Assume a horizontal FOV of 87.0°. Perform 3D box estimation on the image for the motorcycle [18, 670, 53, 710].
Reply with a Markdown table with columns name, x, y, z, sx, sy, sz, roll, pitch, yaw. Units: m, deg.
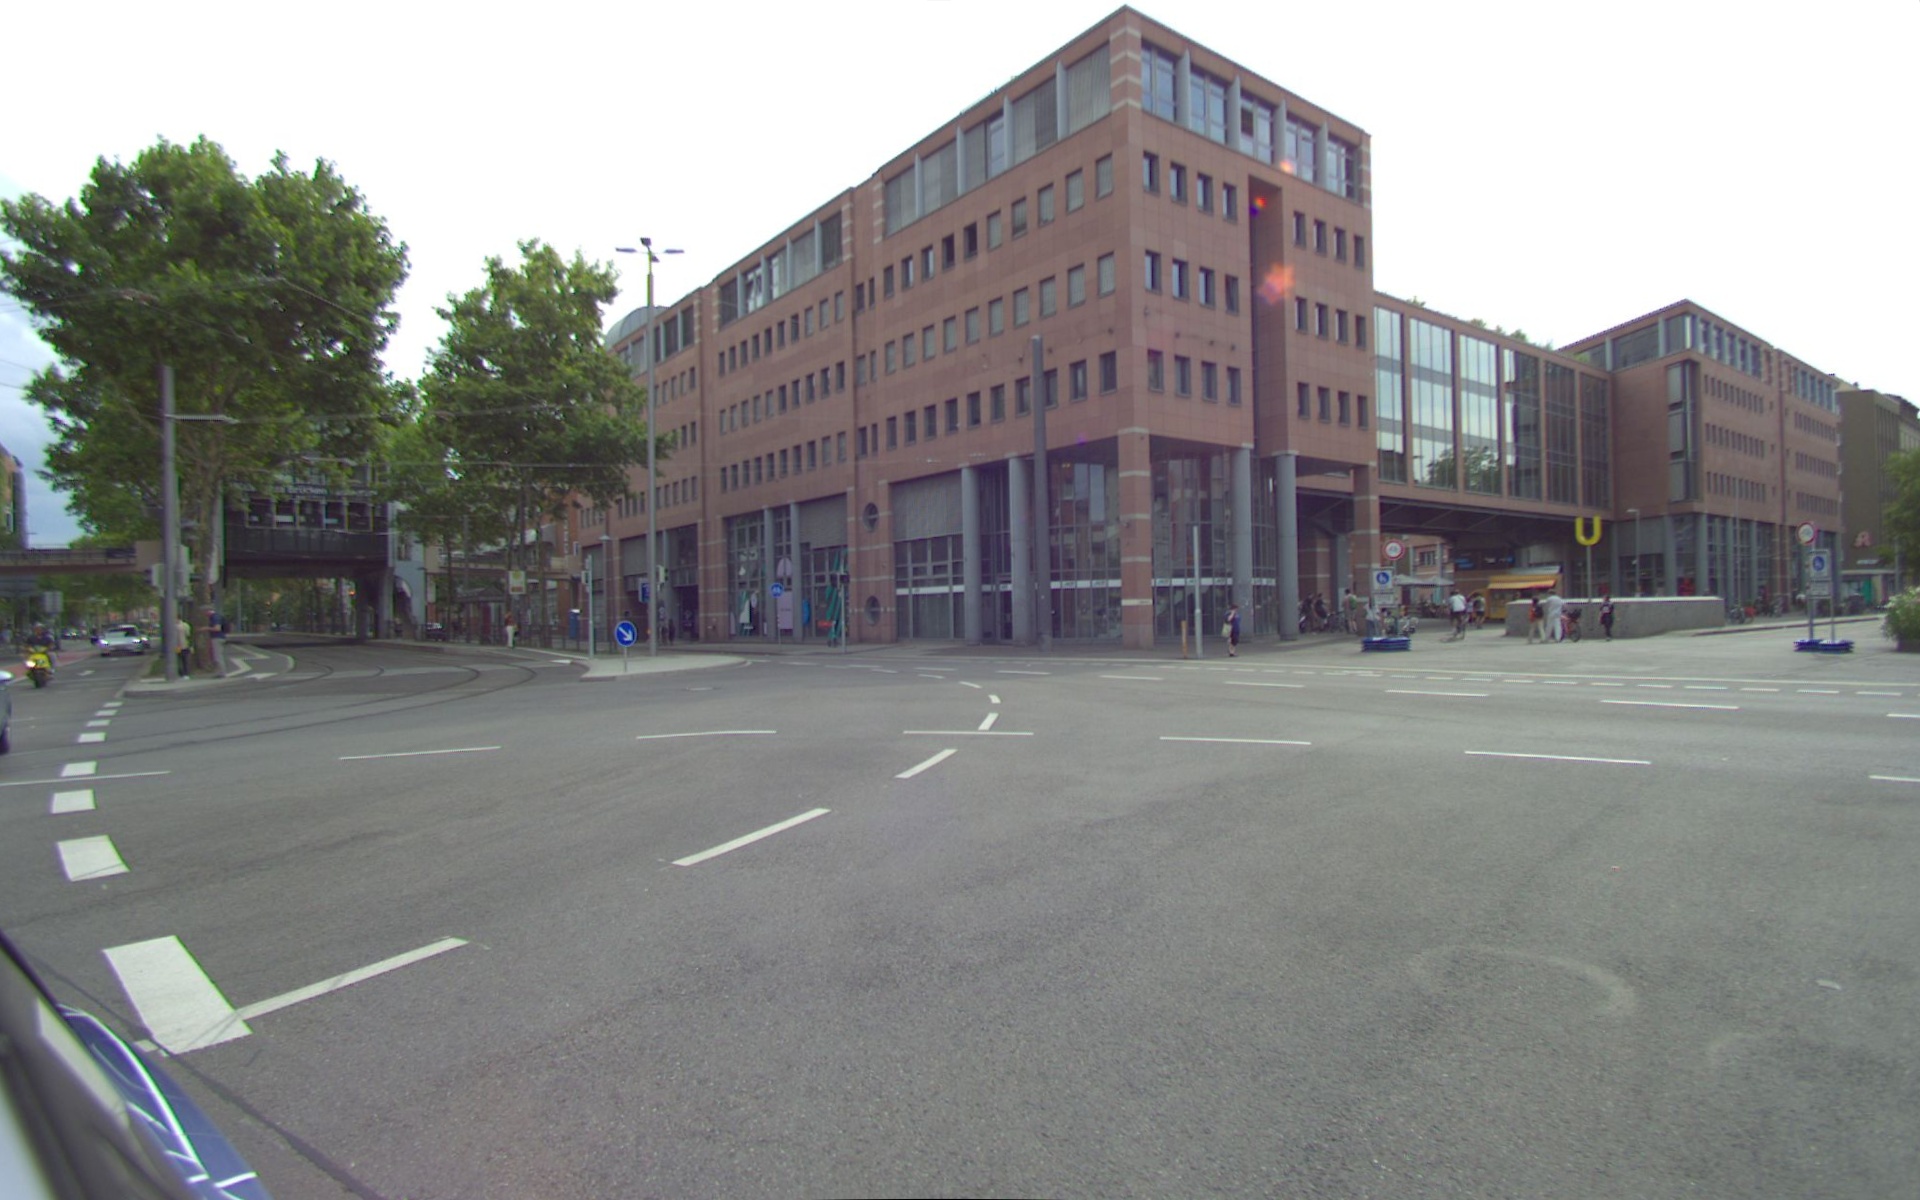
| name | x | y | z | sx | sy | sz | roll | pitch | yaw |
| --- | --- | --- | --- | --- | --- | --- | --- | --- | --- |
| motorcycle | -24.928 | 2.398 | 27.275 | 2.014 | 0.975 | 0.562 | -3 | -2 | 44 |

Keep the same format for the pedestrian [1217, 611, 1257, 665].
| name | x | y | z | sx | sy | sz | roll | pitch | yaw |
| --- | --- | --- | --- | --- | --- | --- | --- | --- | --- |
| pedestrian | 7.757 | 1.052 | 28.357 | 0.786 | 1.484 | 0.686 | -1 | -2 | -37 |

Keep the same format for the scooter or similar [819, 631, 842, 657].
| name | x | y | z | sx | sy | sz | roll | pitch | yaw |
| --- | --- | --- | --- | --- | --- | --- | --- | --- | --- |
| scooter or similar | -5.663 | 1.915 | 44.177 | 0.512 | 1.142 | 1.114 | -1 | -2 | -37 |

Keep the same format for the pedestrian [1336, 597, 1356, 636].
| name | x | y | z | sx | sy | sz | roll | pitch | yaw |
| --- | --- | --- | --- | --- | --- | --- | --- | --- | --- |
| pedestrian | 16.438 | 0.704 | 43.117 | 0.512 | 1.676 | 0.582 | -1 | -2 | -37 |

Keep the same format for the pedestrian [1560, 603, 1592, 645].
| name | x | y | z | sx | sy | sz | roll | pitch | yaw |
| --- | --- | --- | --- | --- | --- | --- | --- | --- | --- |
| pedestrian | 20.909 | 0.802 | 34.372 | 0.626 | 1.385 | 0.862 | -2 | -1 | 11 |

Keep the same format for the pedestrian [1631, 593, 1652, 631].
| name | x | y | z | sx | sy | sz | roll | pitch | yaw |
| --- | --- | --- | --- | --- | --- | --- | --- | --- | --- |
| pedestrian | 30.493 | 0.545 | 45.266 | 0.512 | 1.676 | 0.582 | -1 | -2 | -37 |

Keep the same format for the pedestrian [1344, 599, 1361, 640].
| name | x | y | z | sx | sy | sz | roll | pitch | yaw |
| --- | --- | --- | --- | --- | --- | --- | --- | --- | --- |
| pedestrian | 16.308 | 0.795 | 42.081 | 0.576 | 1.676 | 0.517 | -2 | -1 | 19 |

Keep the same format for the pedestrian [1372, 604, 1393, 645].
| name | x | y | z | sx | sy | sz | roll | pitch | yaw |
| --- | --- | --- | --- | --- | --- | --- | --- | --- | --- |
| pedestrian | 18.810 | 1.094 | 45.067 | 0.676 | 1.775 | 0.498 | -2 | -1 | 5 |

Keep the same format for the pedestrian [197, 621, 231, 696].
| name | x | y | z | sx | sy | sz | roll | pitch | yaw |
| --- | --- | --- | --- | --- | --- | --- | --- | --- | --- |
| pedestrian | -19.219 | 1.497 | 26.083 | 0.682 | 1.889 | 0.808 | -1 | -2 | -37 |

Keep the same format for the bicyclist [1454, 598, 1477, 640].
| name | x | y | z | sx | sy | sz | roll | pitch | yaw |
| --- | --- | --- | --- | --- | --- | --- | --- | --- | --- |
| bicyclist | 19.562 | 0.743 | 39.198 | 0.541 | 1.581 | 0.880 | -2 | -1 | 12 |

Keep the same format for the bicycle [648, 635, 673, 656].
| name | x | y | z | sx | sy | sz | roll | pitch | yaw |
| --- | --- | --- | --- | --- | --- | --- | --- | --- | --- |
| bicycle | -16.635 | 2.547 | 56.278 | 1.588 | 1.126 | 0.540 | -2 | -2 | 40 |

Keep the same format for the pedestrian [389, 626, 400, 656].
| name | x | y | z | sx | sy | sz | roll | pitch | yaw |
| --- | --- | --- | --- | --- | --- | --- | --- | --- | --- |
| pedestrian | -35.044 | 2.541 | 62.684 | 0.475 | 1.784 | 0.482 | 0 | -2 | -45 |

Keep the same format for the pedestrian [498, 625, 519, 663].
| name | x | y | z | sx | sy | sz | roll | pitch | yaw |
| --- | --- | --- | --- | --- | --- | --- | --- | --- | --- |
| pedestrian | -18.772 | 1.816 | 42.036 | 0.648 | 1.549 | 0.559 | -1 | 1 | -42 |

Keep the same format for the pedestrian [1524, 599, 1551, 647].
| name | x | y | z | sx | sy | sz | roll | pitch | yaw |
| --- | --- | --- | --- | --- | --- | --- | --- | --- | --- |
| pedestrian | 19.897 | 0.790 | 34.870 | 0.627 | 1.654 | 0.465 | -2 | -1 | 13 |

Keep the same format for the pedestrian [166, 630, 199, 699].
| name | x | y | z | sx | sy | sz | roll | pitch | yaw |
| --- | --- | --- | --- | --- | --- | --- | --- | --- | --- |
| pedestrian | -21.018 | 1.729 | 27.369 | 0.526 | 1.805 | 0.579 | -1 | -1 | -18 |

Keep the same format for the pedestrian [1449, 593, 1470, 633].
| name | x | y | z | sx | sy | sz | roll | pitch | yaw |
| --- | --- | --- | --- | --- | --- | --- | --- | --- | --- |
| pedestrian | 21.046 | 0.553 | 42.645 | 0.512 | 1.676 | 0.582 | -1 | -2 | -37 |

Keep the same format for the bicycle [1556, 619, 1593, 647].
| name | x | y | z | sx | sy | sz | roll | pitch | yaw |
| --- | --- | --- | --- | --- | --- | --- | --- | --- | --- |
| bicycle | 20.943 | 1.117 | 34.538 | 0.468 | 0.895 | 1.782 | -2 | -1 | 12 |

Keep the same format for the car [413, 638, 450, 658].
| name | x | y | z | sx | sy | sz | roll | pitch | yaw |
| --- | --- | --- | --- | --- | --- | --- | --- | --- | --- |
| car | -42.042 | 3.792 | 80.460 | 1.839 | 1.484 | 4.304 | -1 | -2 | -39 |

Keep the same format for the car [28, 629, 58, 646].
| name | x | y | z | sx | sy | sz | roll | pitch | yaw |
| --- | --- | --- | --- | --- | --- | --- | --- | --- | --- |
| car | -92.754 | 3.807 | 102.381 | 1.927 | 1.613 | 4.009 | -1 | -1 | -37 |

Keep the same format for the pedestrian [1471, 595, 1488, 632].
| name | x | y | z | sx | sy | sz | roll | pitch | yaw |
| --- | --- | --- | --- | --- | --- | --- | --- | --- | --- |
| pedestrian | 24.329 | 0.630 | 47.365 | 0.512 | 1.676 | 0.465 | -1 | -2 | -37 |

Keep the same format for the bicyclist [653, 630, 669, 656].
| name | x | y | z | sx | sy | sz | roll | pitch | yaw |
| --- | --- | --- | --- | --- | --- | --- | --- | --- | --- |
| bicyclist | -16.617 | 2.400 | 56.262 | 0.737 | 1.391 | 0.545 | -2 | -2 | 40 |

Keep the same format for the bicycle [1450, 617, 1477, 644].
| name | x | y | z | sx | sy | sz | roll | pitch | yaw |
| --- | --- | --- | --- | --- | --- | --- | --- | --- | --- |
| bicycle | 19.582 | 1.183 | 39.356 | 0.468 | 0.996 | 1.782 | -2 | -1 | 12 |

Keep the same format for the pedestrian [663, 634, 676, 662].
| name | x | y | z | sx | sy | sz | roll | pitch | yaw |
| --- | --- | --- | --- | --- | --- | --- | --- | --- | --- |
| pedestrian | -16.759 | 2.750 | 58.351 | 0.520 | 1.585 | 0.602 | 0 | -2 | -38 |

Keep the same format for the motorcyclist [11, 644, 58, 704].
| name | x | y | z | sx | sy | sz | roll | pitch | yaw |
| --- | --- | --- | --- | --- | --- | --- | --- | --- | --- |
| motorcyclist | -24.958 | 1.982 | 27.294 | 1.044 | 1.528 | 0.860 | -3 | -2 | 42 |

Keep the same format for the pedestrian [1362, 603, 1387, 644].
| name | x | y | z | sx | sy | sz | roll | pitch | yaw |
| --- | --- | --- | --- | --- | --- | --- | --- | --- | --- |
| pedestrian | 15.362 | 0.876 | 37.498 | 0.645 | 1.484 | 0.582 | -1 | -2 | -37 |

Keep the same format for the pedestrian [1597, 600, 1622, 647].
| name | x | y | z | sx | sy | sz | roll | pitch | yaw |
| --- | --- | --- | --- | --- | --- | --- | --- | --- | --- |
| pedestrian | 22.188 | 0.796 | 34.589 | 0.499 | 1.589 | 0.522 | -1 | -2 | -36 |

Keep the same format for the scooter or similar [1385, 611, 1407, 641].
| name | x | y | z | sx | sy | sz | roll | pitch | yaw |
| --- | --- | --- | --- | --- | --- | --- | --- | --- | --- |
| scooter or similar | 17.515 | 1.032 | 40.630 | 0.378 | 1.178 | 1.291 | -1 | -1 | 4 |

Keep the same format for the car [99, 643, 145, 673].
| name | x | y | z | sx | sy | sz | roll | pitch | yaw |
| --- | --- | --- | --- | --- | --- | --- | --- | --- | --- |
| car | -49.183 | 3.380 | 59.452 | 1.927 | 1.613 | 4.009 | -1 | -1 | -37 |
